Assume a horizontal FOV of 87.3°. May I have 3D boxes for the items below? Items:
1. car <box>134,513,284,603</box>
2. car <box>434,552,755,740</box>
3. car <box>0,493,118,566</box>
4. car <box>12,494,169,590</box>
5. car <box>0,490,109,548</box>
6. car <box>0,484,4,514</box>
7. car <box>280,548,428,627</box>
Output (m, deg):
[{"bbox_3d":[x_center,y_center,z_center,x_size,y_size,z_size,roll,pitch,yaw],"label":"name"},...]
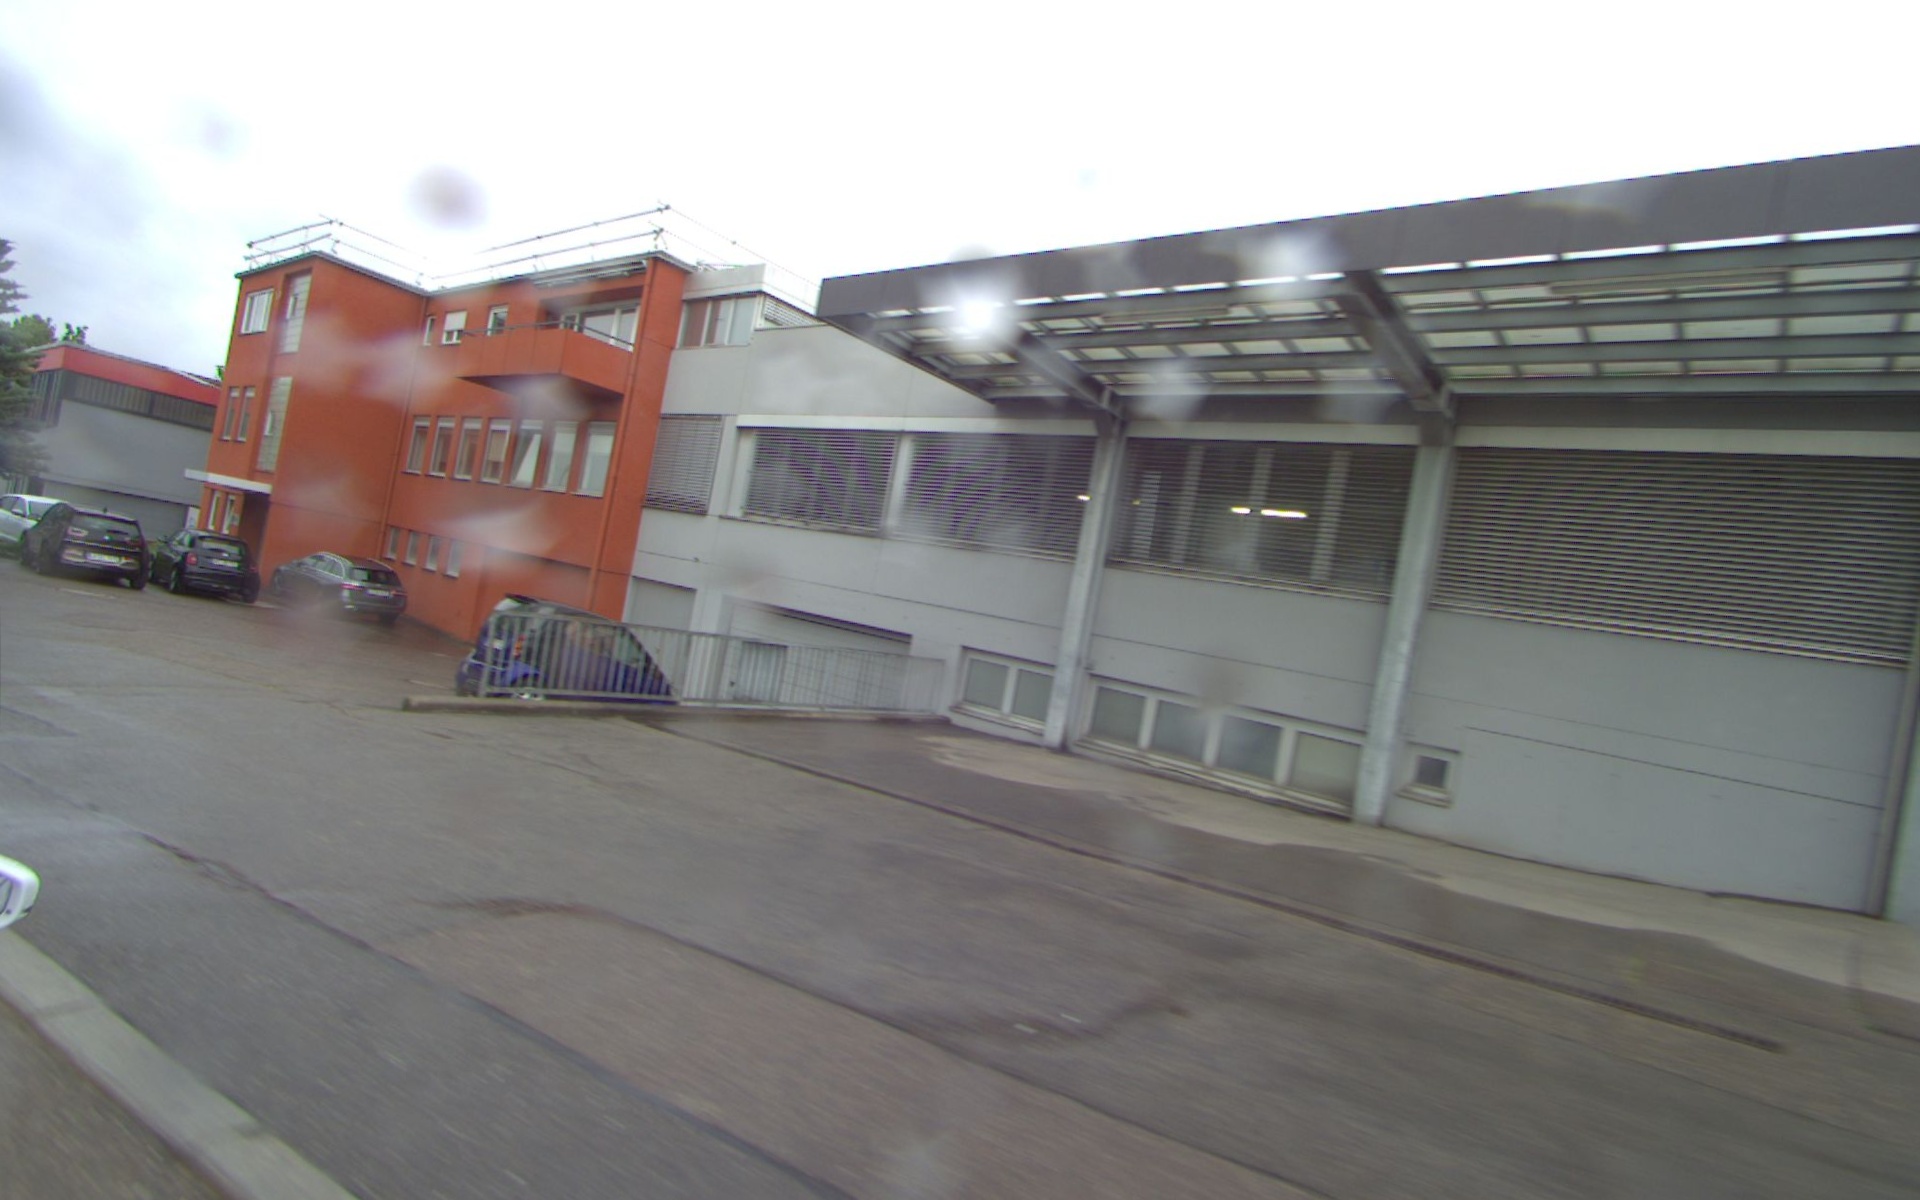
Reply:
[{"bbox_3d":[-18.615,-1.072,24.870,4.449,1.697,1.989,6,-2,42],"label":"car"},{"bbox_3d":[-4.670,0.676,13.250,1.594,1.510,3.451,8,-10,38],"label":"car"},{"bbox_3d":[-24.758,-1.962,26.881,4.253,1.488,1.909,8,-1,28],"label":"car"},{"bbox_3d":[-19.634,-1.341,22.645,4.450,1.596,1.996,6,-4,42],"label":"car"},{"bbox_3d":[-32.300,-2.873,35.516,1.604,1.512,3.038,7,-2,35],"label":"car"},{"bbox_3d":[-36.456,-3.698,36.162,1.653,1.463,2.712,7,-1,38],"label":"car"},{"bbox_3d":[-16.112,-0.362,26.655,4.448,1.465,1.970,7,-4,41],"label":"car"}]
